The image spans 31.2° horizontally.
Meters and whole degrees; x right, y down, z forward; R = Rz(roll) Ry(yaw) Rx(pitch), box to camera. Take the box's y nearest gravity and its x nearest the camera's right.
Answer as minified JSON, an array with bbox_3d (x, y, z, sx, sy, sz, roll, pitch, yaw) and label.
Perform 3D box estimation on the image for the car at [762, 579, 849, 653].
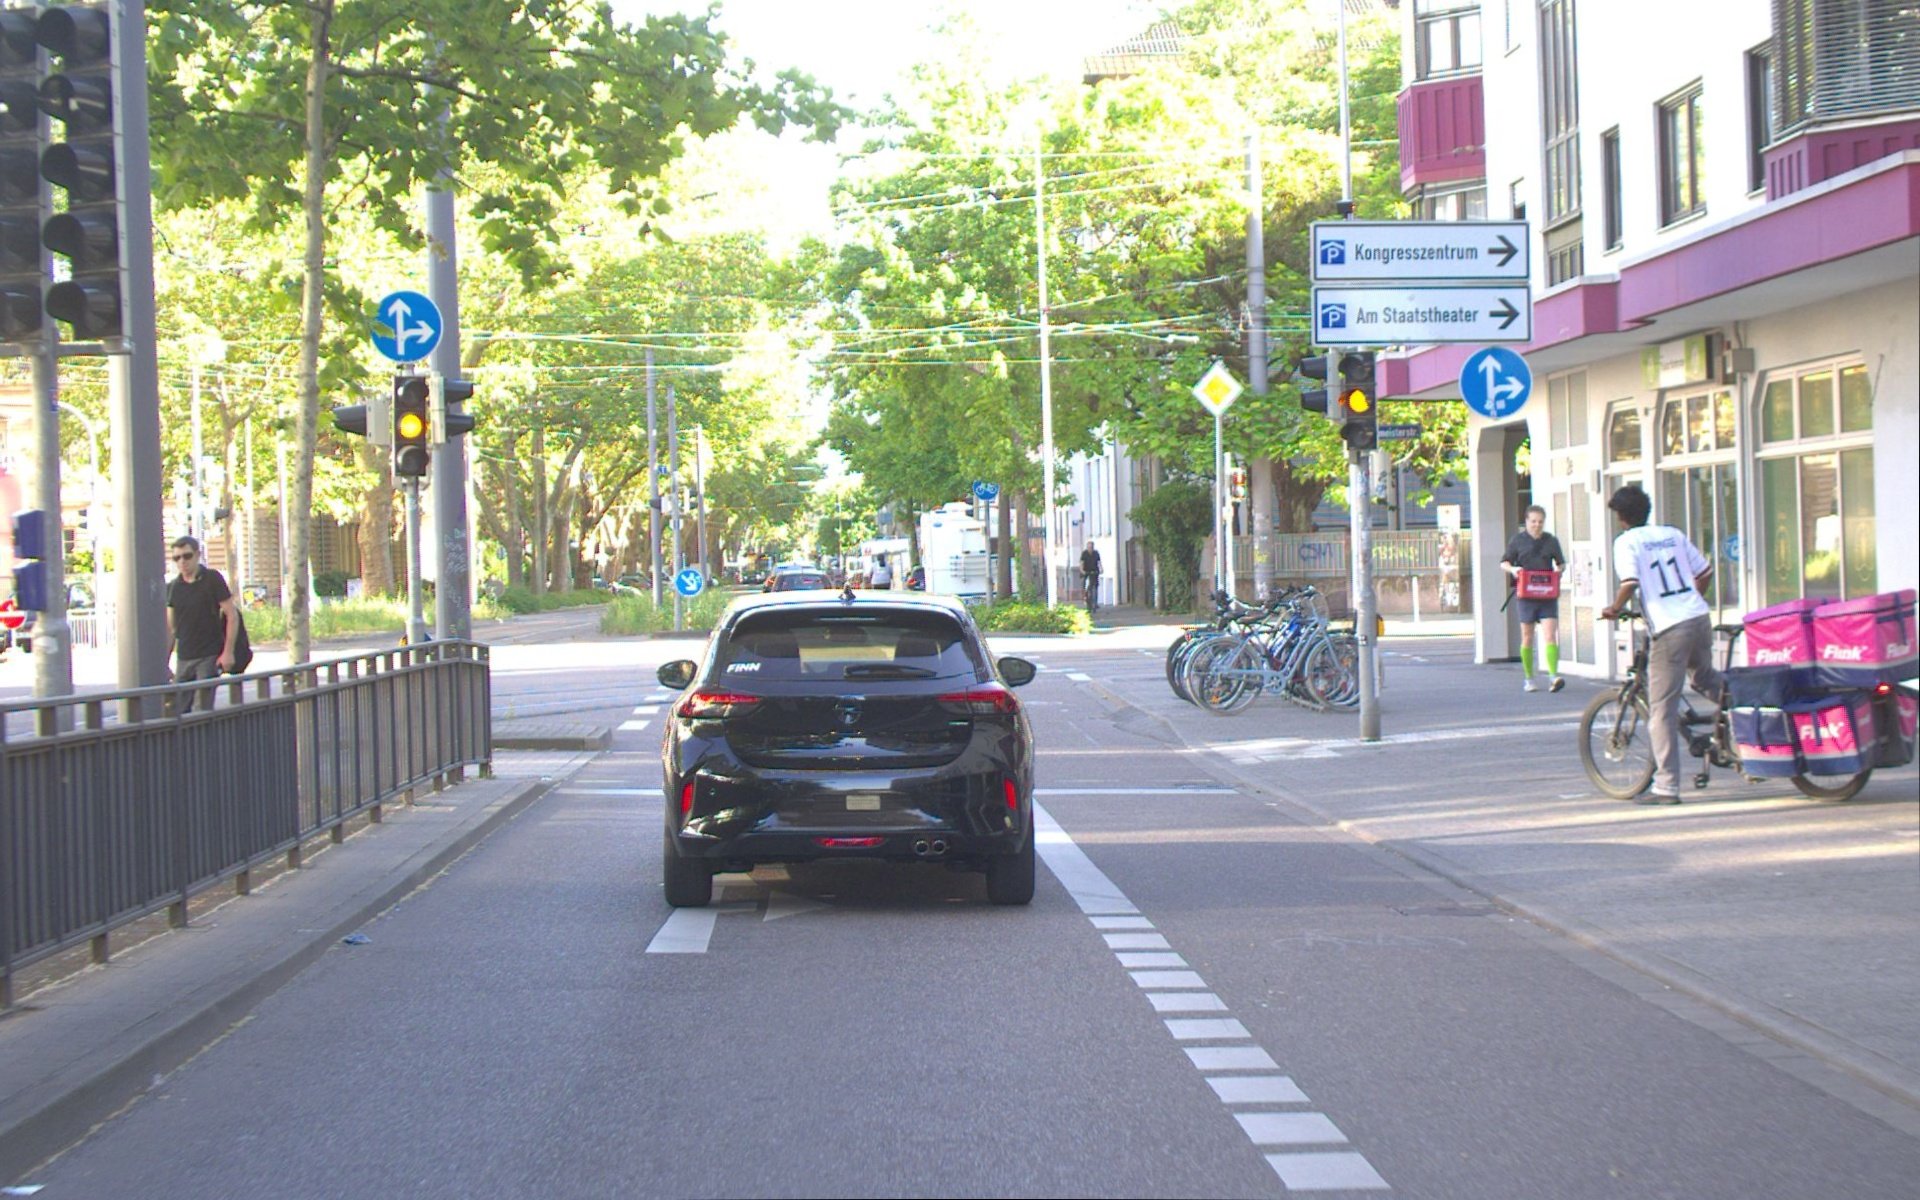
[{"bbox_3d":[-3.485,0.342,78.318,1.832,1.617,4.285,0,1,-1],"label":"car"}]

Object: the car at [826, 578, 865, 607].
[{"bbox_3d":[-5.887,-0.404,176.761,1.905,1.420,4.215,-1,1,-1],"label":"car"}]

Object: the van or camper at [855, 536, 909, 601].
[{"bbox_3d":[-3.655,-1.494,162.471,2.486,2.983,5.434,0,0,-1],"label":"van or camper"}]

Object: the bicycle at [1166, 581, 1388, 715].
[{"bbox_3d":[2.989,0.447,32.468,1.976,1.195,0.591,-2,0,-6],"label":"bicycle"}]

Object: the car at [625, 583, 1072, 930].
[{"bbox_3d":[-0.512,0.668,17.006,1.905,1.420,4.215,-1,1,-1],"label":"car"}]

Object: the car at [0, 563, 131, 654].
[{"bbox_3d":[-20.566,0.178,78.153,1.994,1.941,4.423,-1,1,5],"label":"car"}]

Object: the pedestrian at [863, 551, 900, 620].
[{"bbox_3d":[-2.343,-0.426,102.234,1.036,2.017,1.212,-1,0,-3],"label":"pedestrian"}]

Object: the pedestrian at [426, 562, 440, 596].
[{"bbox_3d":[-26.987,-1.091,176.152,0.618,1.727,0.596,1,0,-3],"label":"pedestrian"}]

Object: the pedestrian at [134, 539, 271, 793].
[{"bbox_3d":[-5.306,0.453,24.126,0.734,1.741,0.712,-1,1,3],"label":"pedestrian"}]

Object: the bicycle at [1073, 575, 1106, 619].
[{"bbox_3d":[3.254,-0.080,86.416,0.639,1.066,1.951,-2,0,-2],"label":"bicycle"}]

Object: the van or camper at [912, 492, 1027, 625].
[{"bbox_3d":[0.182,-1.064,88.978,2.375,3.114,7.551,-4,1,-3],"label":"van or camper"}]

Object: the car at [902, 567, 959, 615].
[{"bbox_3d":[-1.010,-0.322,115.975,1.790,1.505,3.874,-3,1,-1],"label":"car"}]

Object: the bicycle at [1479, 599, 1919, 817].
[{"bbox_3d":[4.377,0.606,20.325,0.960,1.179,2.597,-2,1,-38],"label":"bicycle"}]

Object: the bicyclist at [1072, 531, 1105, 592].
[{"bbox_3d":[3.236,-0.978,86.367,0.749,1.504,0.702,-1,0,-1],"label":"bicyclist"}]

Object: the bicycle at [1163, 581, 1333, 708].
[{"bbox_3d":[2.834,0.438,33.919,1.623,1.195,0.496,-2,0,3],"label":"bicycle"}]

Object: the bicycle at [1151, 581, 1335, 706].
[{"bbox_3d":[2.845,0.439,34.667,1.802,1.195,0.545,-2,-1,3],"label":"bicycle"}]

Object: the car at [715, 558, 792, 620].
[{"bbox_3d":[-5.542,-0.305,92.872,1.993,1.622,4.471,1,1,-3],"label":"car"}]

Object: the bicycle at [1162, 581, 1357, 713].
[{"bbox_3d":[2.897,0.449,33.349,1.831,1.216,0.496,-2,1,2],"label":"bicycle"}]

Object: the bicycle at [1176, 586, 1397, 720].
[{"bbox_3d":[3.020,0.482,31.845,1.939,1.166,0.572,-2,0,-4],"label":"bicycle"}]

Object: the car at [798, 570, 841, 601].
[{"bbox_3d":[-6.726,-0.712,164.690,1.905,1.420,4.215,-1,1,-1],"label":"car"}]

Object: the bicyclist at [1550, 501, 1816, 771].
[{"bbox_3d":[4.288,0.203,20.408,1.057,1.534,1.078,-2,1,-39],"label":"bicyclist"}]

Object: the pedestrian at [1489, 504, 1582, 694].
[{"bbox_3d":[5.739,-0.015,34.314,0.722,1.851,0.801,-2,0,-2],"label":"pedestrian"}]
